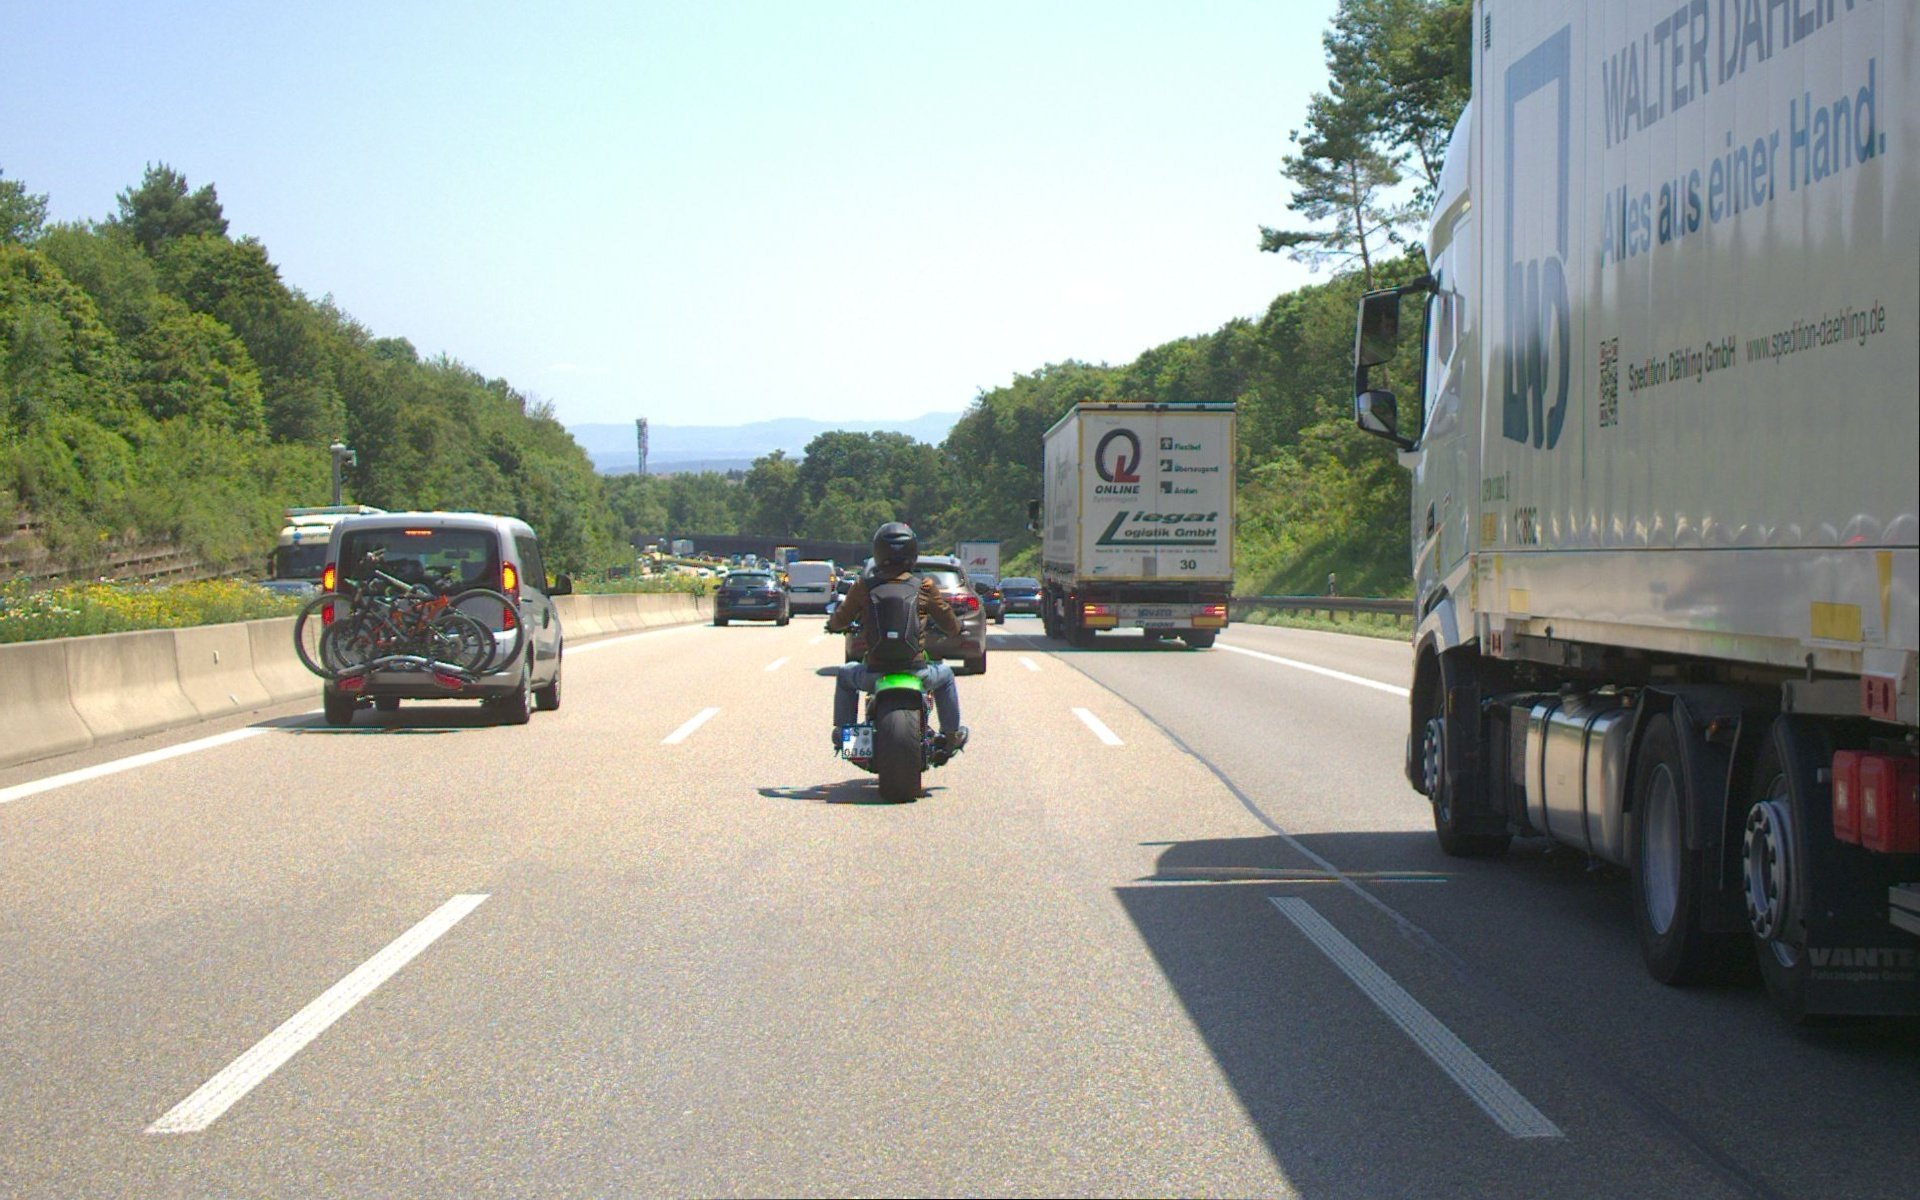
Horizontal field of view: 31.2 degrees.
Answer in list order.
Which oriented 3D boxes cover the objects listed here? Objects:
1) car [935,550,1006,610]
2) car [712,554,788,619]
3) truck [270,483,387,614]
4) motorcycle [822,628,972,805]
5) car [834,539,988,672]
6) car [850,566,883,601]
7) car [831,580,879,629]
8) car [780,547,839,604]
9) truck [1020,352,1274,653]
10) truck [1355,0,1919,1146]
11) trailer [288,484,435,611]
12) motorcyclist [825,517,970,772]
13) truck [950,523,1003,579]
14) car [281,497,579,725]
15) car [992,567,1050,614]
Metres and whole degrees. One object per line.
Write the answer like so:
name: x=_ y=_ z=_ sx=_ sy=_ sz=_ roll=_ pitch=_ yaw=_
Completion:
car: x=0.266 y=-0.568 z=94.411 sx=1.831 sy=1.553 sz=4.120 roll=1 pitch=1 yaw=-1
car: x=-5.348 y=-0.362 z=87.982 sx=1.758 sy=1.538 sz=4.395 roll=1 pitch=1 yaw=-1
truck: x=-19.934 y=-1.647 z=108.750 sx=2.680 sy=4.017 sz=5.931 roll=0 pitch=1 yaw=-1
motorcycle: x=-0.360 y=0.684 z=20.976 sx=0.862 sy=0.978 sz=2.131 roll=0 pitch=1 yaw=0
car: x=-0.638 y=0.029 z=43.913 sx=1.845 sy=1.552 sz=4.440 roll=1 pitch=1 yaw=-1
car: x=-5.216 y=-0.926 z=192.055 sx=1.831 sy=1.804 sz=4.120 roll=1 pitch=1 yaw=-1
car: x=-4.172 y=0.149 z=136.440 sx=1.831 sy=1.804 sz=4.120 roll=1 pitch=1 yaw=-1
car: x=-5.043 y=-0.850 z=115.588 sx=1.831 sy=1.804 sz=4.120 roll=1 pitch=1 yaw=-1
truck: x=3.134 y=-1.723 z=63.705 sx=3.383 sy=4.702 sz=17.710 roll=2 pitch=1 yaw=-1
truck: x=3.603 y=-0.780 z=13.339 sx=2.680 sy=4.045 sz=10.626 roll=1 pitch=1 yaw=-1
trailer: x=-20.037 y=-1.799 z=115.953 sx=2.680 sy=4.001 sz=14.189 roll=0 pitch=1 yaw=-1
motorcyclist: x=-0.369 y=0.260 z=20.878 sx=0.856 sy=1.510 sz=0.914 roll=0 pitch=0 yaw=0
truck: x=0.989 y=-3.089 z=216.069 sx=3.067 sy=3.335 sz=9.652 roll=2 pitch=1 yaw=-1
car: x=-4.626 y=0.058 z=30.796 sx=1.898 sy=1.841 sz=5.483 roll=1 pitch=1 yaw=-1
car: x=2.106 y=-0.337 z=119.217 sx=1.831 sy=1.521 sz=4.027 roll=1 pitch=1 yaw=-1
